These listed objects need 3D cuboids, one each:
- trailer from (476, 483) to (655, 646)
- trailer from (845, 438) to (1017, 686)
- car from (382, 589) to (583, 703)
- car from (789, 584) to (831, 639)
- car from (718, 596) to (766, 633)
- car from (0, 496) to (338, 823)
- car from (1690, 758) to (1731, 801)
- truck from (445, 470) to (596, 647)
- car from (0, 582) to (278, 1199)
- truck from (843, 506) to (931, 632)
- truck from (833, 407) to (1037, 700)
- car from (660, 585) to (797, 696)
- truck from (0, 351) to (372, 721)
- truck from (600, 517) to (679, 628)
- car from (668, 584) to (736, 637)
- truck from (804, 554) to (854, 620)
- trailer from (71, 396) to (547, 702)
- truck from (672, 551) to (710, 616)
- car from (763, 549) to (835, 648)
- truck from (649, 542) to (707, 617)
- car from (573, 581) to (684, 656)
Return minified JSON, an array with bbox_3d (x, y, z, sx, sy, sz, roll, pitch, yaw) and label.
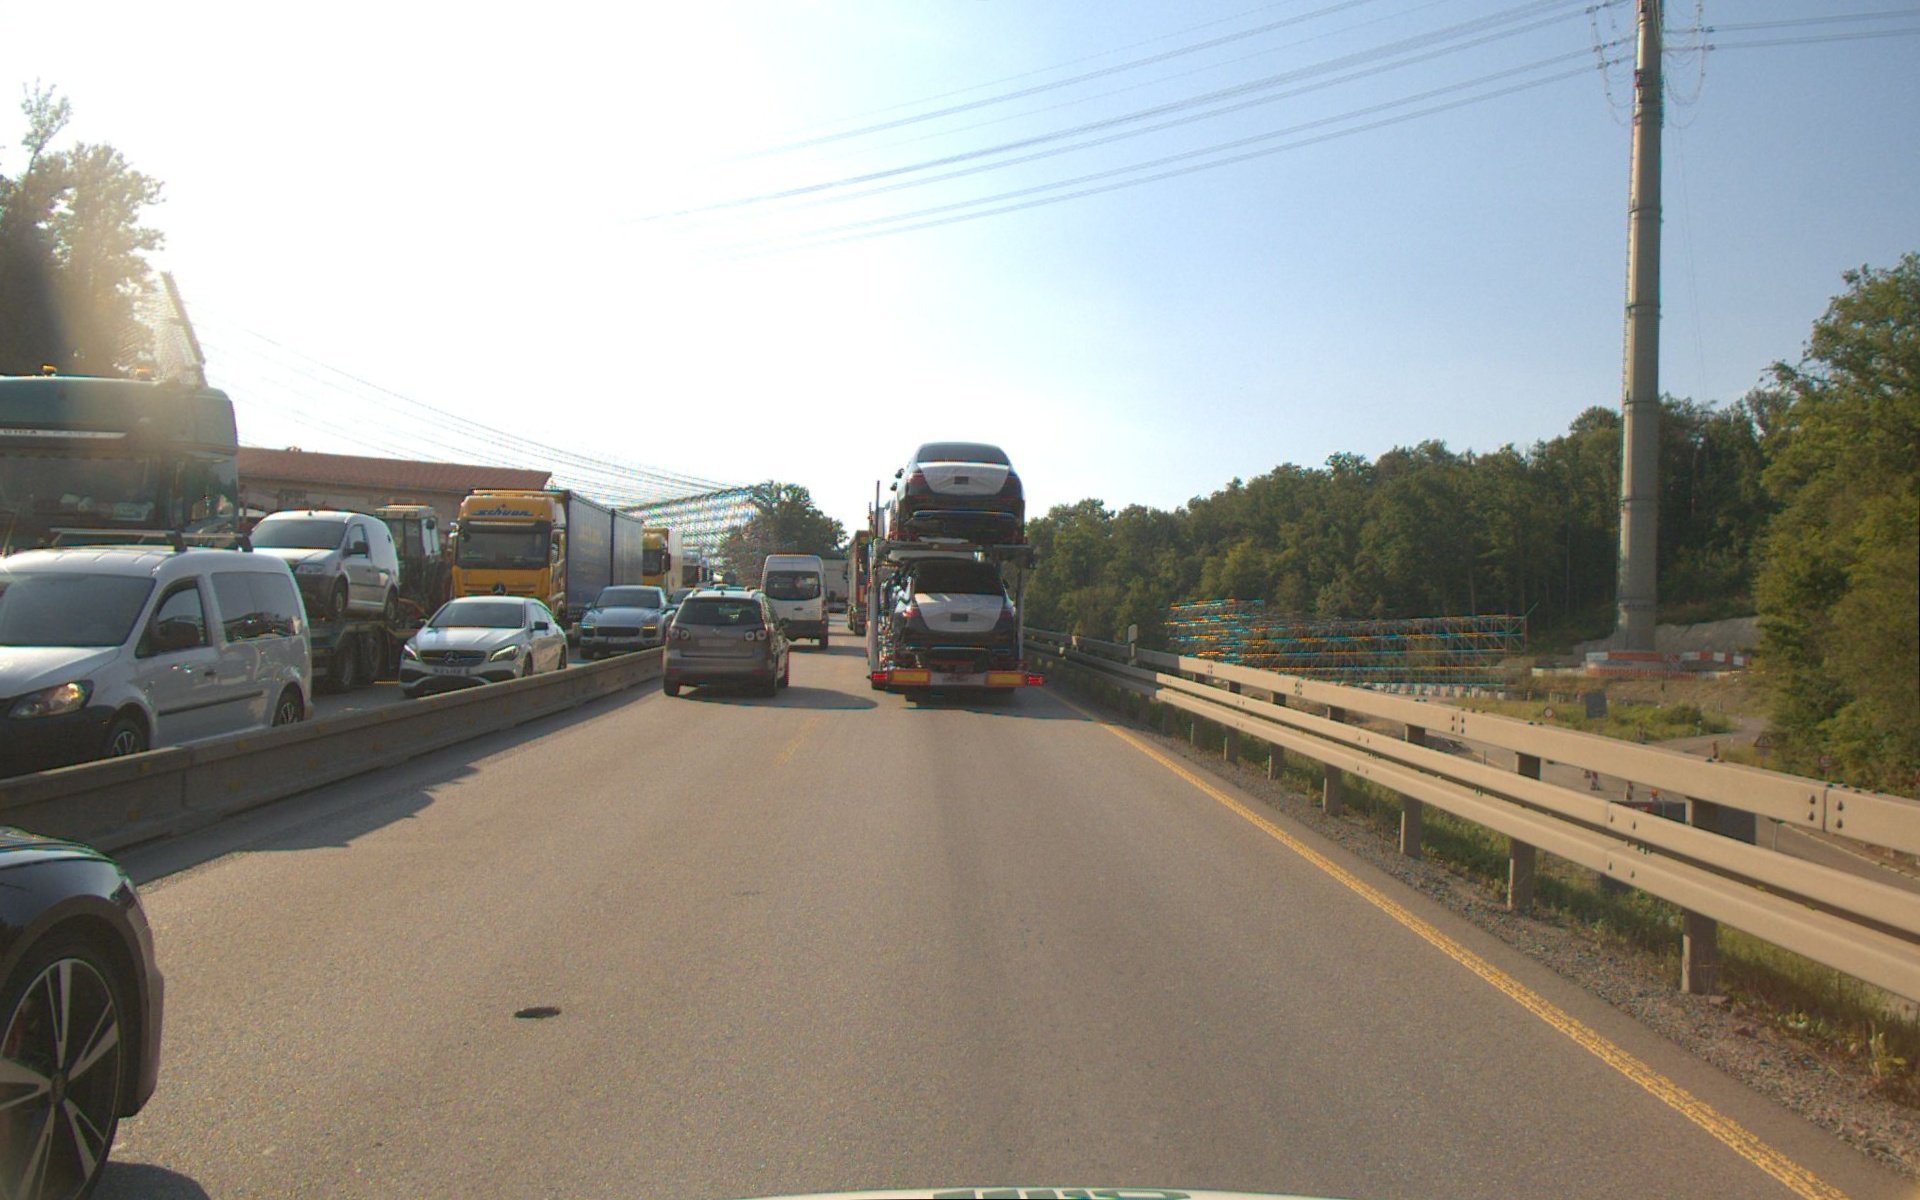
[{"bbox_3d":[-11.811,-0.800,51.453,2.661,4.207,16.736,1,-1,-4],"label":"trailer"},{"bbox_3d":[-0.717,-0.512,34.923,2.817,4.064,15.272,0,-1,-2],"label":"trailer"},{"bbox_3d":[-7.127,0.665,25.200,1.766,1.548,4.815,-1,-1,-1],"label":"car"},{"bbox_3d":[-5.931,0.483,65.529,1.498,2.049,3.995,3,-1,-5],"label":"car"},{"bbox_3d":[-9.378,0.632,71.528,1.753,1.524,4.720,0,-1,-4],"label":"car"},{"bbox_3d":[-6.454,0.426,12.551,1.787,1.967,5.126,-2,-1,-4],"label":"car"},{"bbox_3d":[32.740,7.793,72.075,1.496,1.486,4.263,0,-1,26],"label":"car"},{"bbox_3d":[-11.162,-0.943,42.527,2.648,4.213,5.789,1,-1,-4],"label":"truck"},{"bbox_3d":[-2.872,0.708,2.137,1.901,1.506,5.220,0,-1,-1],"label":"car"},{"bbox_3d":[-3.200,-1.254,69.037,3.165,4.758,11.684,1,1,-5],"label":"truck"},{"bbox_3d":[-0.429,-0.601,25.909,2.812,4.050,5.769,0,-1,-2],"label":"truck"},{"bbox_3d":[-3.585,0.624,26.254,1.666,1.615,4.145,0,-1,-1],"label":"car"},{"bbox_3d":[-9.892,-0.651,20.837,2.694,3.872,7.107,0,0,-3],"label":"truck"},{"bbox_3d":[-12.741,-1.017,65.992,2.641,4.270,4.392,1,-1,-6],"label":"truck"},{"bbox_3d":[-8.852,0.374,56.996,1.889,1.731,4.687,0,-1,-4],"label":"car"},{"bbox_3d":[-10.215,-1.033,127.968,3.577,4.758,11.682,1,1,-5],"label":"truck"},{"bbox_3d":[-10.266,-0.606,29.034,2.694,3.882,16.037,0,0,-3],"label":"trailer"},{"bbox_3d":[-18.547,-1.078,114.178,2.398,4.346,6.310,1,-1,-8],"label":"truck"},{"bbox_3d":[-4.659,-0.010,48.395,1.940,2.731,4.143,0,-1,-4],"label":"car"},{"bbox_3d":[-16.636,-1.039,98.210,2.756,4.040,13.869,1,-1,-7],"label":"truck"},{"bbox_3d":[-7.824,0.455,39.450,1.920,1.673,4.844,0,-1,-4],"label":"car"}]
